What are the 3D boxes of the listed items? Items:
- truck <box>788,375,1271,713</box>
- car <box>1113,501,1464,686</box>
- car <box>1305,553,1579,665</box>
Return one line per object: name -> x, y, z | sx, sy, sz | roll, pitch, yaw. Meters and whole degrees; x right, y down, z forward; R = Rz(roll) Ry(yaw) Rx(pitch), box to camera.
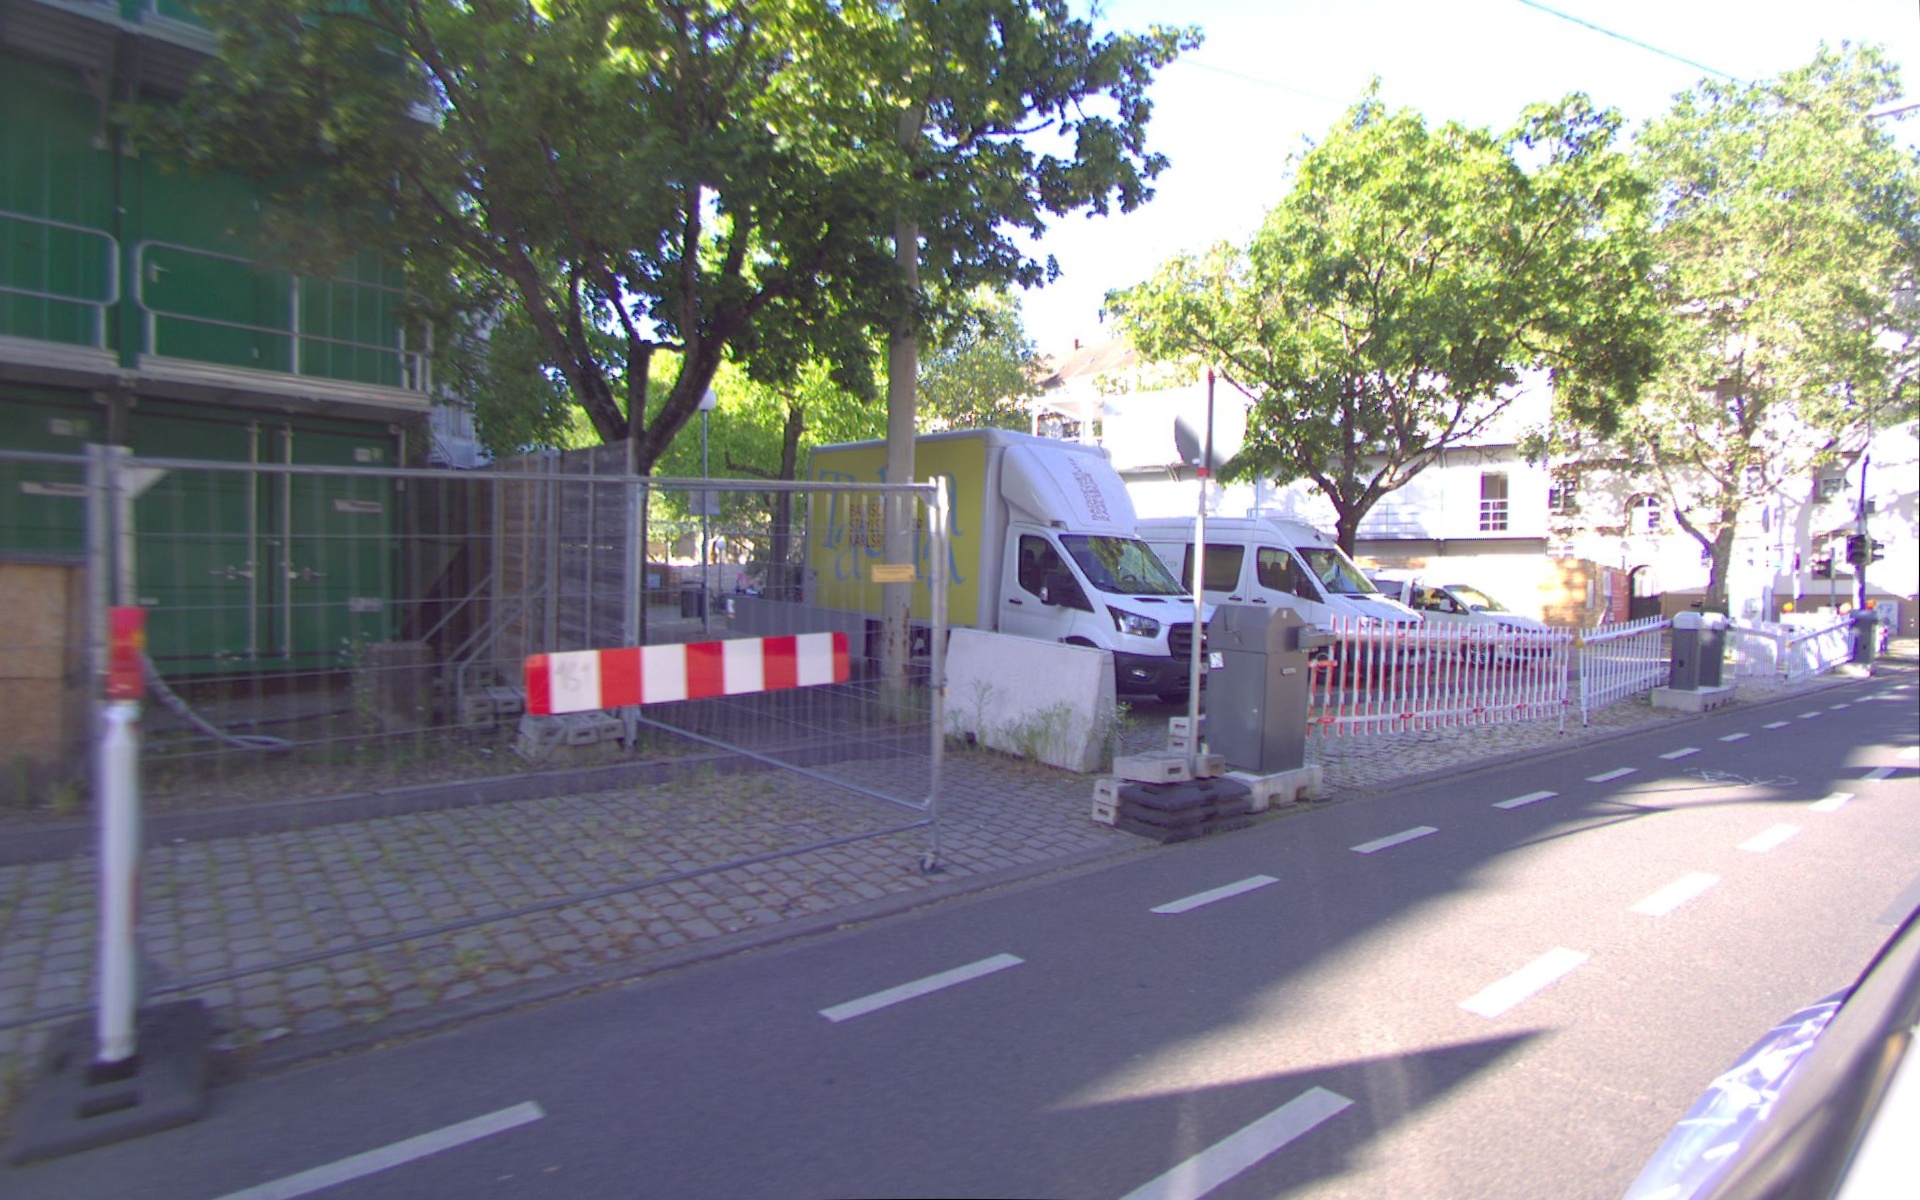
truck -> 0.468, -0.698, 13.856 | 2.329, 3.460, 7.091 | 0, 2, -40
car -> 5.239, -0.189, 16.908 | 1.978, 2.594, 5.334 | 0, 2, -40
car -> 9.834, 0.124, 21.028 | 1.962, 2.035, 4.799 | 0, 1, -35
